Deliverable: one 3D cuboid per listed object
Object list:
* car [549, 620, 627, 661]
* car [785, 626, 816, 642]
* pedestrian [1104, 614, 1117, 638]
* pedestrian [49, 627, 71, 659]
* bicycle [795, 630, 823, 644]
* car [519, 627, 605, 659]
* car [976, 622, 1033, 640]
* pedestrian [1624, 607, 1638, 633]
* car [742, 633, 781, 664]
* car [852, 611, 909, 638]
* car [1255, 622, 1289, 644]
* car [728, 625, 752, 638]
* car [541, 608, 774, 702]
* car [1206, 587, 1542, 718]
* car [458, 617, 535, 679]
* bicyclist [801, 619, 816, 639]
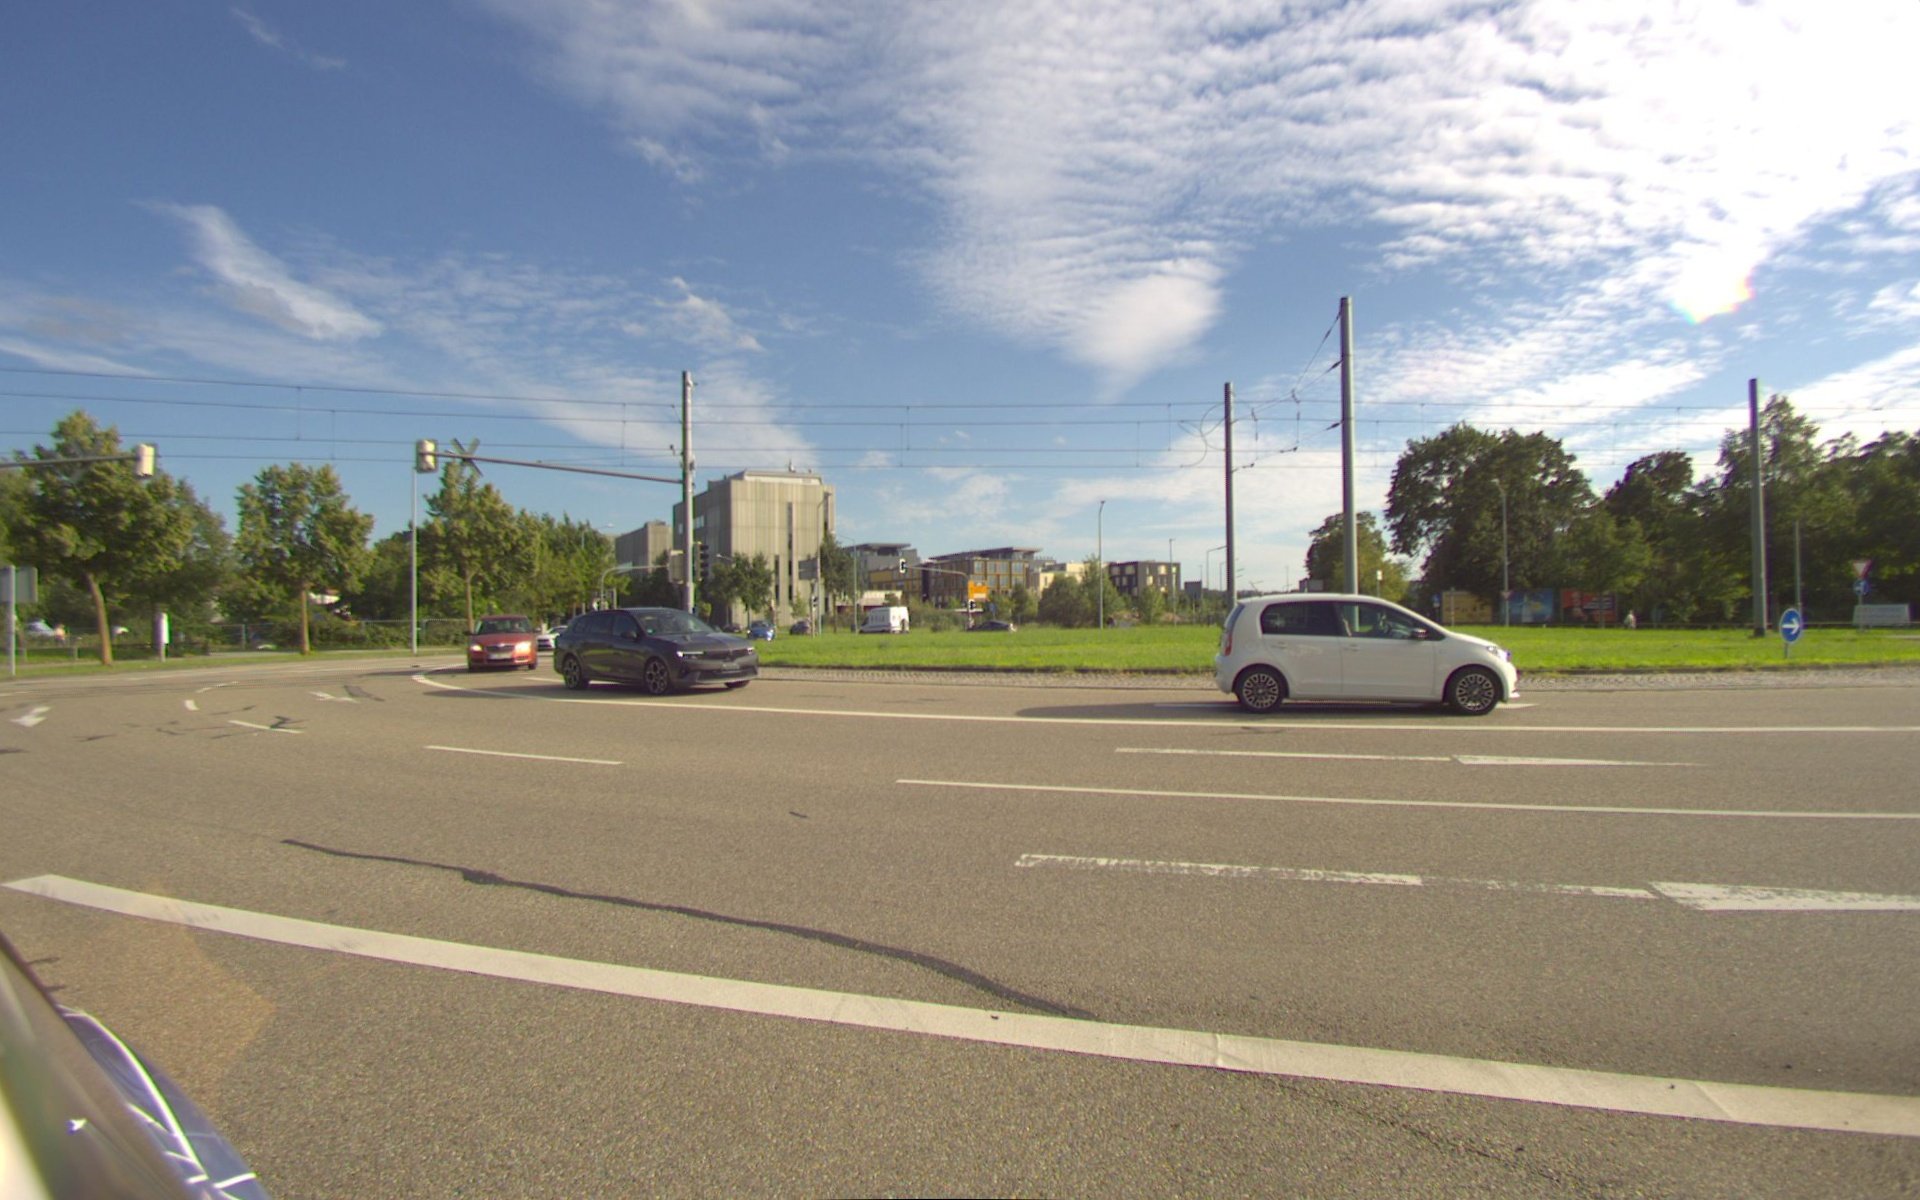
[{"bbox_3d":[-14.540,1.570,39.782,1.670,1.486,4.228,-1,-2,-2],"label":"car"},{"bbox_3d":[-16.281,3.489,103.088,1.657,1.513,4.005,2,-3,-33],"label":"car"},{"bbox_3d":[12.618,2.199,84.882,0.884,1.930,0.867,-3,0,-3],"label":"pedestrian"},{"bbox_3d":[-49.434,2.342,55.583,0.588,1.745,0.668,-1,-1,-2],"label":"pedestrian"},{"bbox_3d":[-11.671,2.873,78.408,1.927,1.015,1.005,0,-2,-25],"label":"bicycle"},{"bbox_3d":[-22.615,2.445,57.716,1.983,1.674,4.775,-1,-1,18],"label":"car"},{"bbox_3d":[3.180,2.239,73.078,3.991,1.275,1.663,-2,-4,41],"label":"car"},{"bbox_3d":[44.288,1.322,66.813,0.542,1.637,0.504,-1,-2,10],"label":"pedestrian"},{"bbox_3d":[-12.165,2.943,62.286,1.969,1.674,4.810,-1,-1,-6],"label":"car"},{"bbox_3d":[-6.973,2.186,88.007,2.032,2.281,6.037,3,-3,-36],"label":"car"},{"bbox_3d":[23.527,2.447,76.305,1.883,1.588,4.387,-1,-1,24],"label":"car"},{"bbox_3d":[-26.794,3.859,123.142,1.657,1.512,4.006,-1,-1,-31],"label":"car"},{"bbox_3d":[-5.427,0.939,17.853,4.444,1.431,1.800,-3,-1,40],"label":"car"},{"bbox_3d":[4.991,0.628,12.717,3.626,1.475,1.759,-2,0,15],"label":"car"},{"bbox_3d":[-12.315,1.237,27.069,1.665,1.486,4.241,-2,-1,-22],"label":"car"},{"bbox_3d":[-11.740,2.261,78.382,0.851,1.567,1.001,0,-2,-25],"label":"bicyclist"}]
